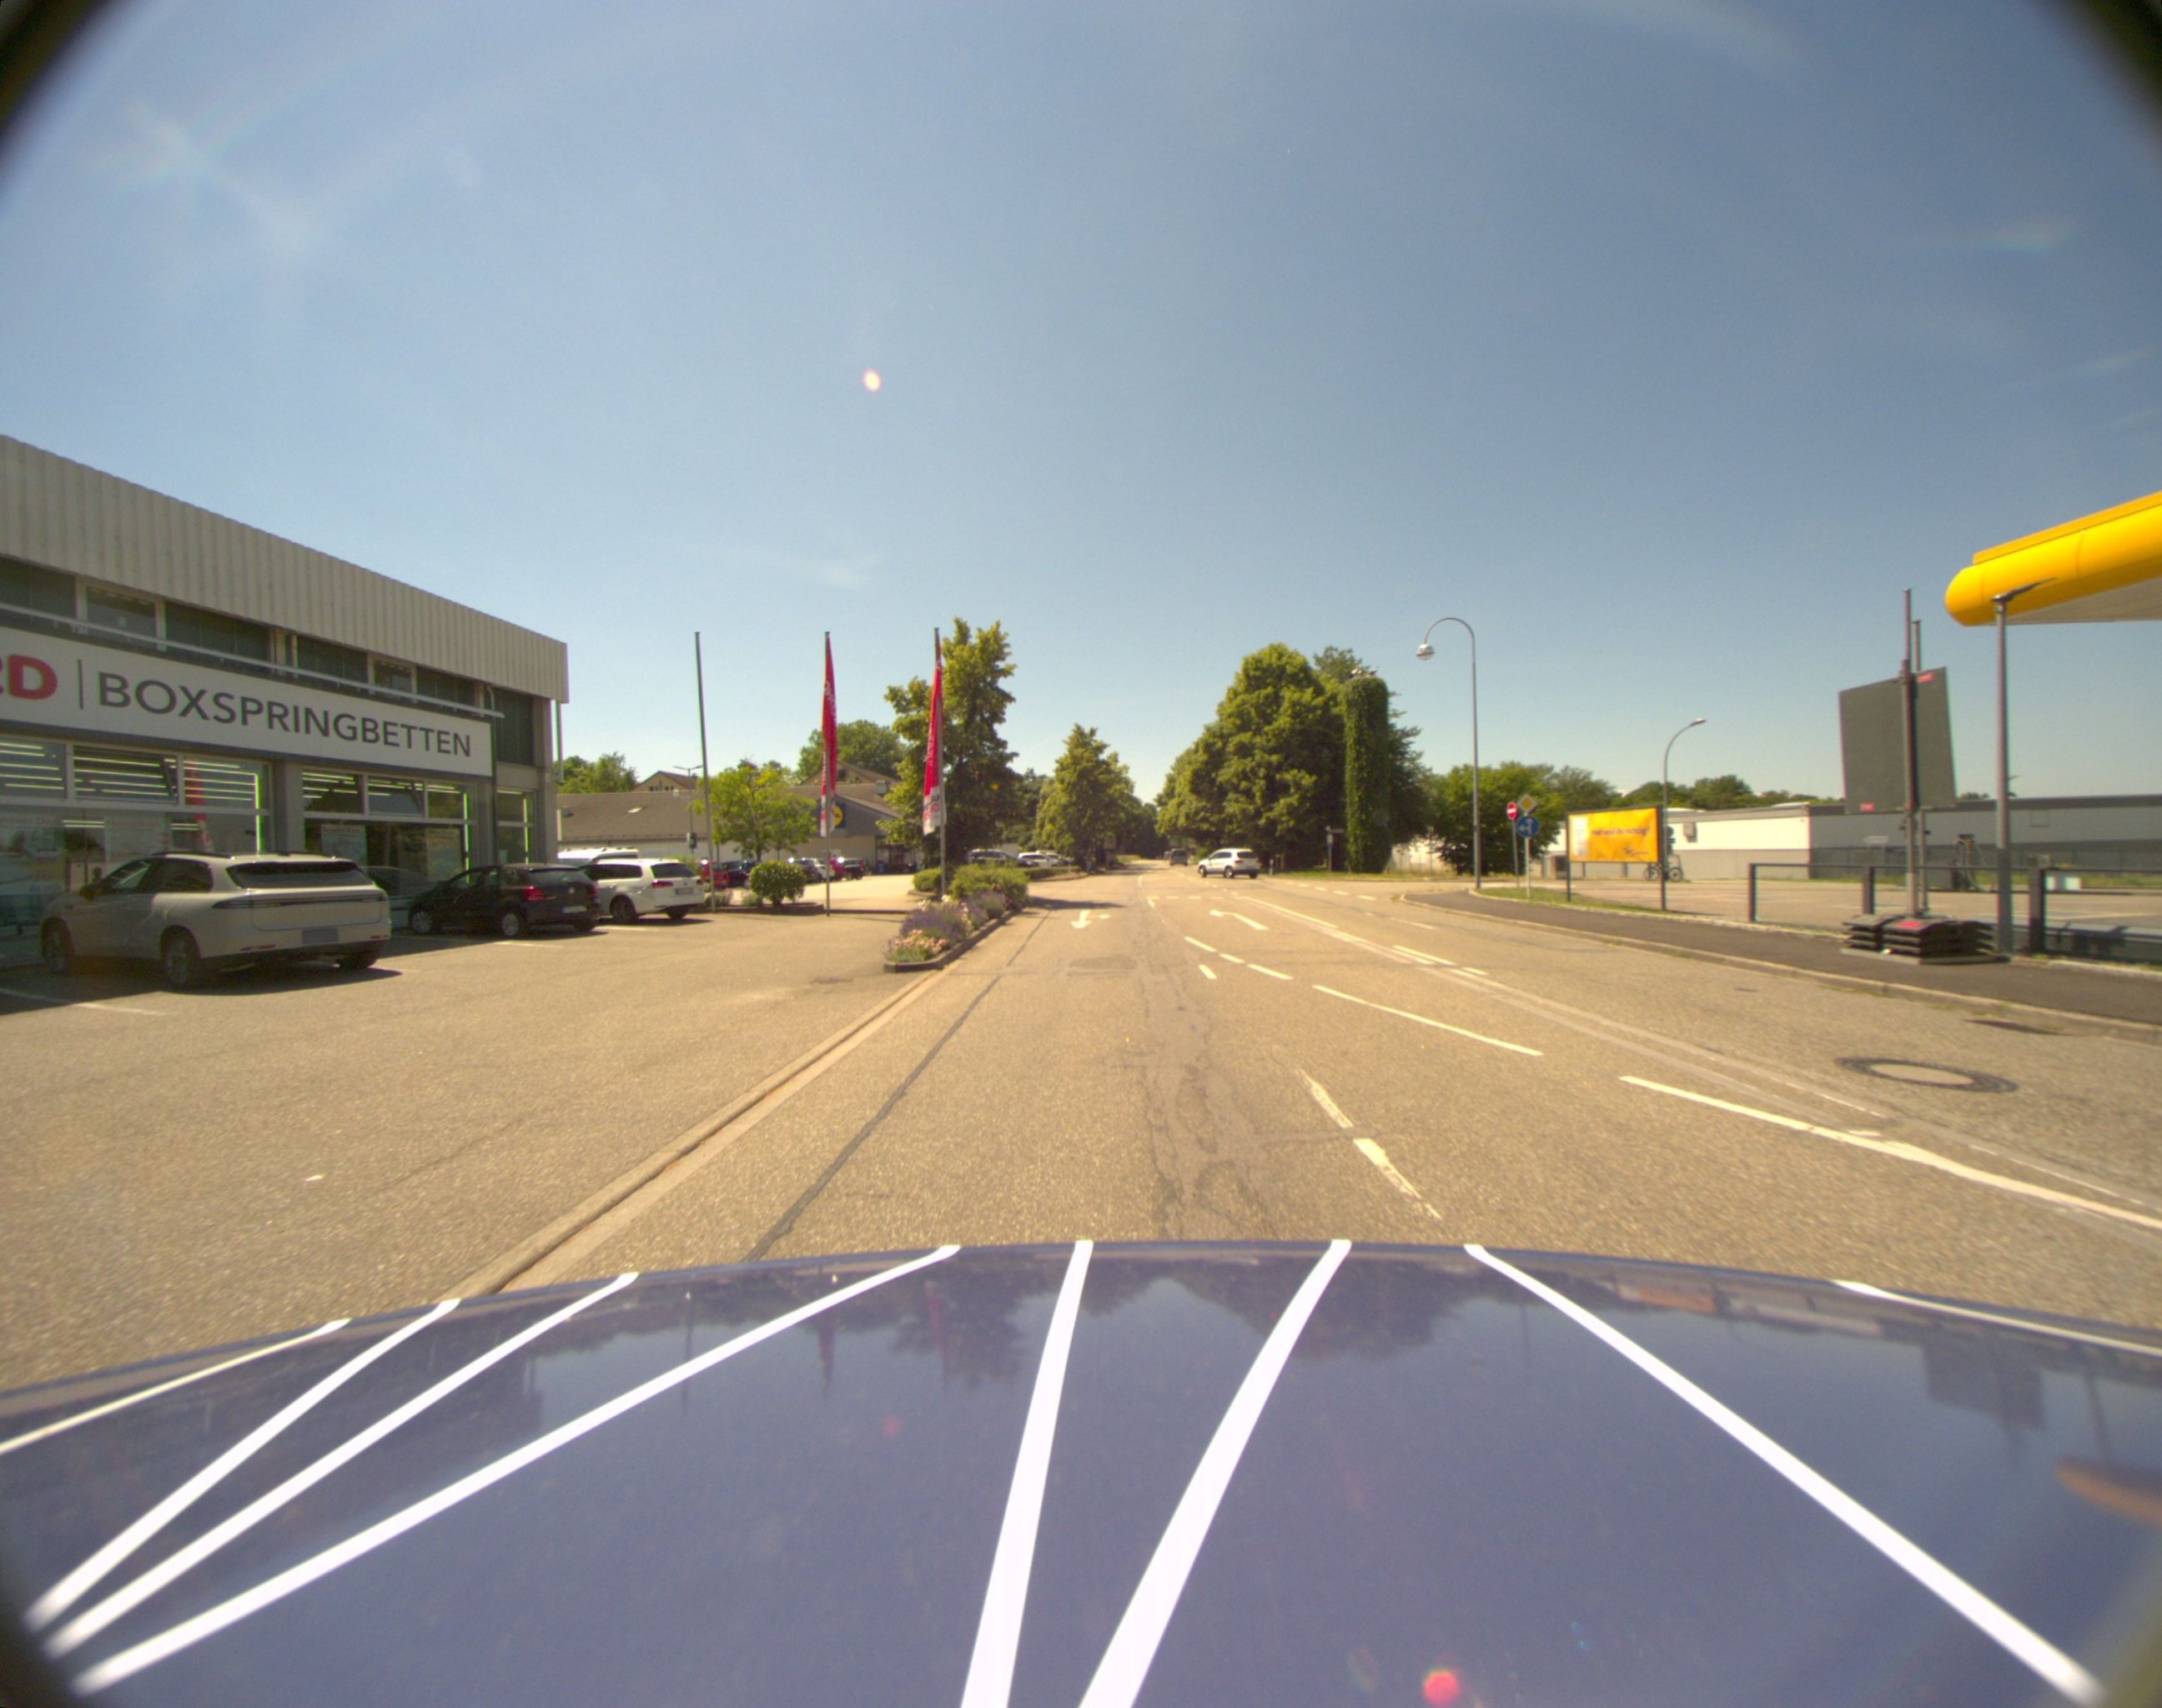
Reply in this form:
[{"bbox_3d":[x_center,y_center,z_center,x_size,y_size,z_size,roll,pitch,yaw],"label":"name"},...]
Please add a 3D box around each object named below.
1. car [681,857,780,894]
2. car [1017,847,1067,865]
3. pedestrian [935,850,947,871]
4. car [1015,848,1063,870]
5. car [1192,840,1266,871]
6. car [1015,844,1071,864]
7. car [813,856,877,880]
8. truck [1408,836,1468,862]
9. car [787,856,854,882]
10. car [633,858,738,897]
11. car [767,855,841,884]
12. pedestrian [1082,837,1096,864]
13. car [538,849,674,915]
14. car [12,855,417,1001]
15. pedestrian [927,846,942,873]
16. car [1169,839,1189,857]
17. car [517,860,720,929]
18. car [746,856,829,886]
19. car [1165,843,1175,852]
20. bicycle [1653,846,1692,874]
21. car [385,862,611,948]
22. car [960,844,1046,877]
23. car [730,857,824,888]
[{"bbox_3d":[-17.657,1.048,38.380,4.030,1.554,1.808,-3,2,2],"label":"car"},{"bbox_3d":[-3.412,0.163,67.279,4.240,1.403,1.953,-3,1,1],"label":"car"},{"bbox_3d":[-11.759,0.538,64.023,0.699,1.744,0.785,-2,2,7],"label":"pedestrian"},{"bbox_3d":[-3.104,0.358,56.754,3.406,1.498,1.582,-2,1,2],"label":"car"},{"bbox_3d":[8.414,0.082,43.562,1.978,1.663,4.239,-2,1,-27],"label":"car"},{"bbox_3d":[-3.068,0.004,61.717,4.321,1.472,1.809,-2,1,1],"label":"car"},{"bbox_3d":[-15.789,0.941,50.919,3.604,1.409,1.672,-3,1,4],"label":"car"},{"bbox_3d":[42.054,-0.619,89.906,2.691,2.780,10.160,-3,0,3],"label":"truck"},{"bbox_3d":[-16.646,0.935,48.633,3.604,1.449,1.746,-3,1,4],"label":"car"},{"bbox_3d":[-18.533,1.096,35.721,3.997,1.523,1.651,-3,1,-1],"label":"car"},{"bbox_3d":[-16.856,0.925,46.344,3.731,1.495,1.819,-3,1,4],"label":"car"},{"bbox_3d":[0.563,-0.237,52.253,0.730,1.779,0.621,-2,2,13],"label":"pedestrian"},{"bbox_3d":[-15.628,0.848,25.312,1.710,1.880,4.256,-2,1,0],"label":"car"},{"bbox_3d":[-11.930,0.928,10.512,4.587,1.632,2.002,-2,2,19],"label":"car"},{"bbox_3d":[-10.766,0.397,55.822,0.784,2.002,0.803,-2,2,3],"label":"pedestrian"},{"bbox_3d":[10.407,-0.609,80.578,1.800,1.762,4.365,0,0,3],"label":"car"},{"bbox_3d":[-10.989,0.946,18.123,3.992,1.452,1.807,-2,2,15],"label":"car"},{"bbox_3d":[-16.864,0.967,43.779,4.026,1.469,1.728,-3,1,5],"label":"car"},{"bbox_3d":[18.757,-1.309,159.619,1.881,1.823,5.300,-2,1,5],"label":"car"},{"bbox_3d":[29.086,0.316,37.375,1.539,1.341,0.395,-1,2,10],"label":"bicycle"},{"bbox_3d":[-11.873,1.000,15.521,3.859,1.524,1.680,-1,2,18],"label":"car"},{"bbox_3d":[-4.477,0.356,43.929,4.523,1.658,1.895,-2,1,8],"label":"car"},{"bbox_3d":[-16.326,0.986,40.981,4.253,1.383,1.901,-2,1,1],"label":"car"}]
